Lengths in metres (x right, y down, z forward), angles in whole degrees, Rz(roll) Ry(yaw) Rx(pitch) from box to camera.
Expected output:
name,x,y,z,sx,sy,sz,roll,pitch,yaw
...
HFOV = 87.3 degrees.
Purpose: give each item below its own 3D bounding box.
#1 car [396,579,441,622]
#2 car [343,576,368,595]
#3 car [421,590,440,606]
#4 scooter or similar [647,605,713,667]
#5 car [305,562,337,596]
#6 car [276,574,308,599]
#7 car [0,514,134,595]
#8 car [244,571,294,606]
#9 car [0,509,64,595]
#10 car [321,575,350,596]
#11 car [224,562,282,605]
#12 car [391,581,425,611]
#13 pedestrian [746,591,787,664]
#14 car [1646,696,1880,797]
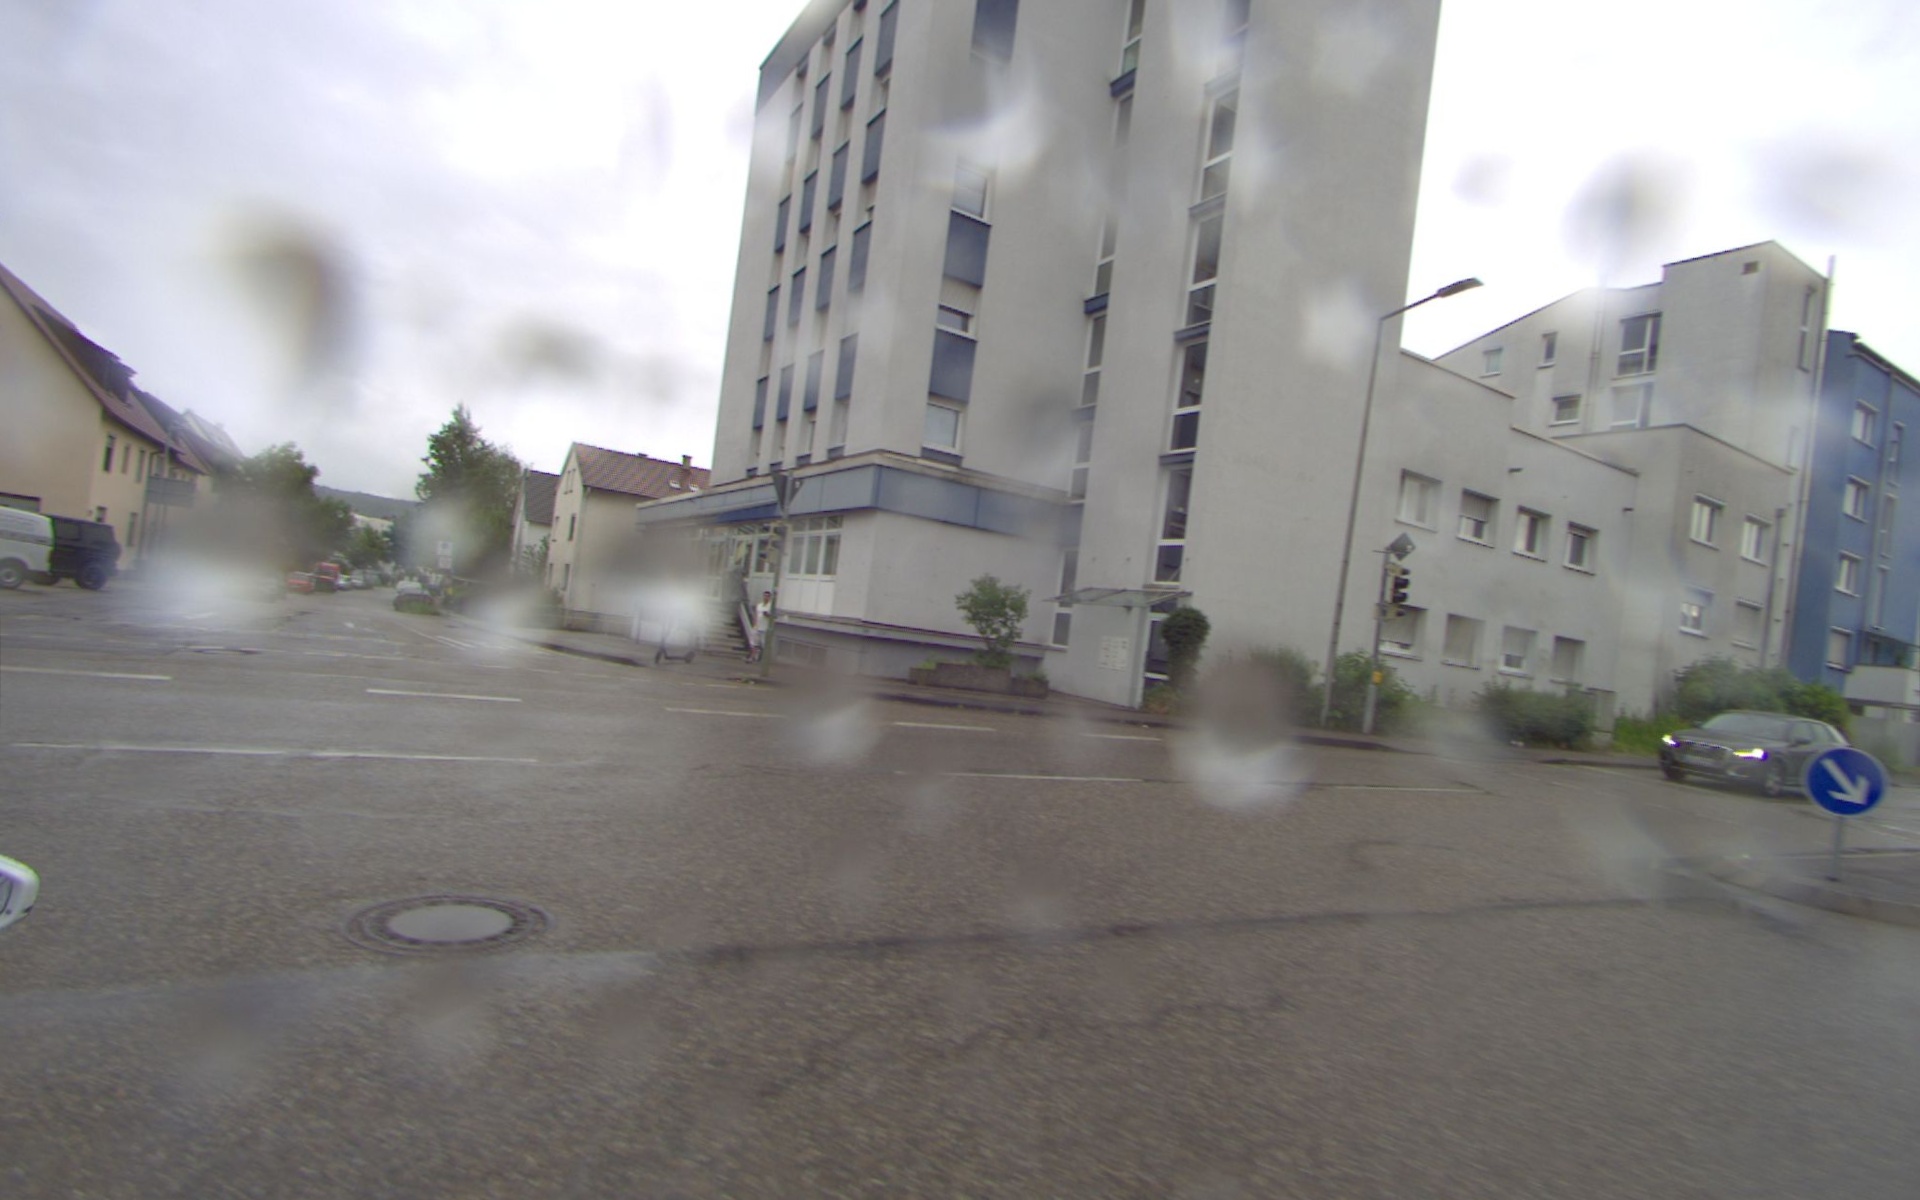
name,x,y,z,sx,sy,sz,roll,pitch,yaw
car,-30.527,0.063,56.842,1.976,2.035,3.980,6,-5,-27
car,-70.089,-1.656,116.696,1.975,1.724,3.982,6,-5,-25
car,-71.436,-0.252,135.808,1.976,2.037,3.977,6,-3,-27
scooter or similar,-6.118,0.789,22.002,1.055,1.241,0.793,8,-5,-42
car,-58.938,-1.854,92.791,2.201,2.800,5.681,6,-3,-32
car,-48.156,-0.951,72.510,1.756,1.536,3.966,7,-3,-35
car,-26.367,-1.345,28.133,1.927,1.910,4.626,4,-3,19
car,-35.341,-0.581,51.540,1.754,1.536,4.163,6,-3,-31
car,-22.905,-1.378,21.864,1.740,1.796,4.741,4,-6,19
car,-63.547,-1.439,102.402,1.976,1.702,3.980,6,-5,-27
car,-29.255,-0.661,41.713,1.756,1.540,3.967,7,-3,-34
car,-41.521,-0.269,75.715,1.976,2.037,3.977,6,-3,-27
pedestrian,-4.617,0.668,23.979,0.649,1.669,0.641,6,-4,-32
car,15.415,2.814,19.300,4.095,1.504,1.733,6,0,-24
